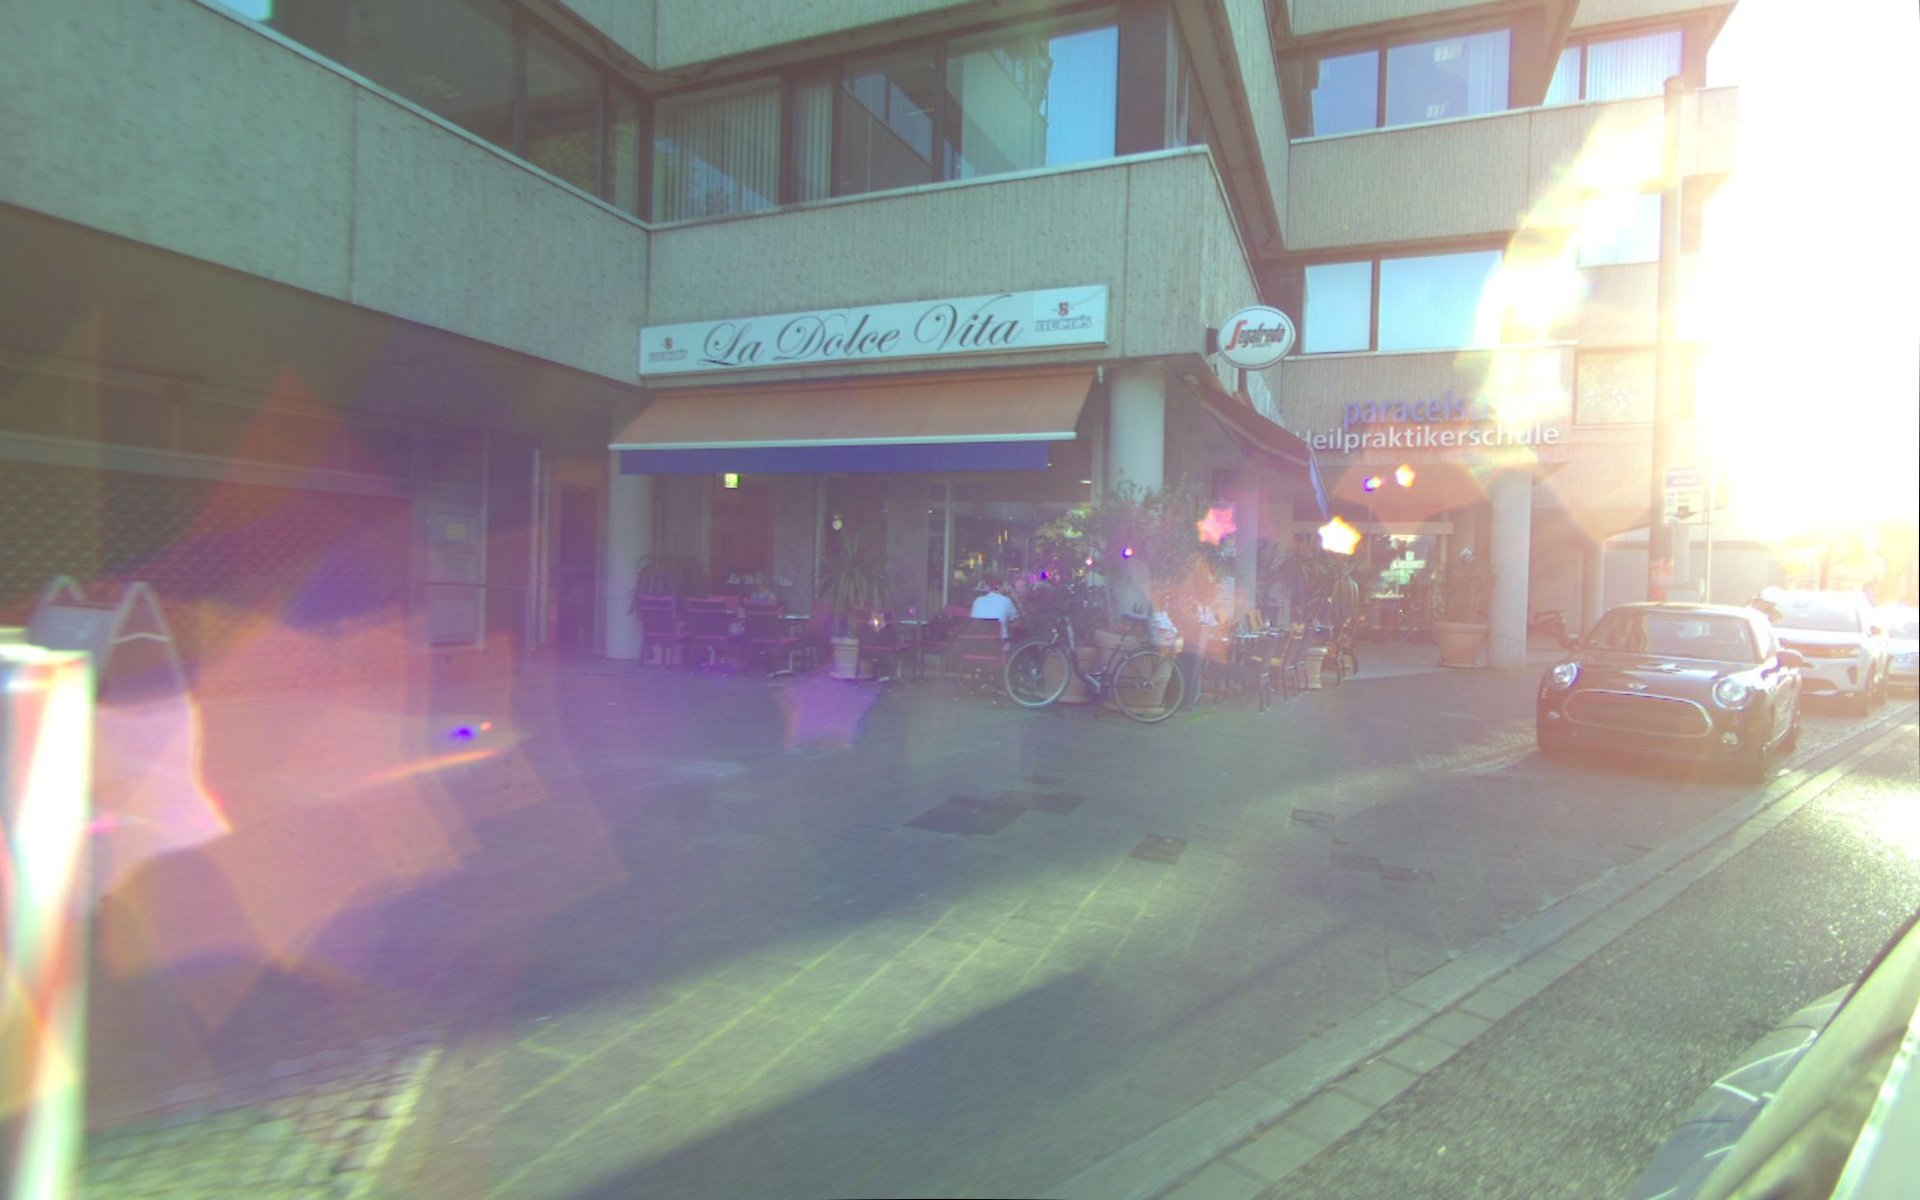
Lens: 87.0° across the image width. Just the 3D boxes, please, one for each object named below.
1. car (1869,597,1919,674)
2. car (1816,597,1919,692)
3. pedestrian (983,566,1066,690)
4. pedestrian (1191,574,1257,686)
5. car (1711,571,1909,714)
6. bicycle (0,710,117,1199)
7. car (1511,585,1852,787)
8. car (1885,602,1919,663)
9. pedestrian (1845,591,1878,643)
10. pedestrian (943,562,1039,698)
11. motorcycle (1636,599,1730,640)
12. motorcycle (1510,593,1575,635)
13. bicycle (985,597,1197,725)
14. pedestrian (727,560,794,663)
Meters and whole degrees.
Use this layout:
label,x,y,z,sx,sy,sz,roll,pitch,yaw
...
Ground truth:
label,x,y,z,sx,sy,sz,roll,pitch,yaw
car,21.493,0.773,22.527,3.606,1.611,1.586,1,0,-43
car,17.002,0.757,18.399,3.930,1.547,1.643,1,0,-41
pedestrian,0.700,0.291,11.078,0.528,1.294,0.706,1,1,-41
pedestrian,3.183,0.345,12.246,0.752,1.314,0.707,0,0,14
car,12.780,0.557,15.115,4.327,1.827,1.785,1,0,-43
bicycle,-2.176,0.827,1.662,0.530,1.002,1.798,4,2,-17
car,6.981,0.665,9.654,3.851,1.527,1.793,1,0,-41
car,25.164,0.809,25.830,3.929,1.474,1.788,0,1,-40
pedestrian,32.118,0.607,36.058,0.634,1.808,0.849,1,0,25
pedestrian,0.320,0.292,10.427,0.639,1.312,0.697,4,2,40
motorcycle,21.979,0.574,30.799,2.273,1.205,0.694,0,0,41
motorcycle,19.516,0.455,33.927,0.655,1.309,1.800,2,1,-26
bicycle,1.209,0.541,9.425,1.862,1.017,0.457,4,2,11
pedestrian,-2.537,0.140,12.867,0.552,1.255,0.609,2,0,23
